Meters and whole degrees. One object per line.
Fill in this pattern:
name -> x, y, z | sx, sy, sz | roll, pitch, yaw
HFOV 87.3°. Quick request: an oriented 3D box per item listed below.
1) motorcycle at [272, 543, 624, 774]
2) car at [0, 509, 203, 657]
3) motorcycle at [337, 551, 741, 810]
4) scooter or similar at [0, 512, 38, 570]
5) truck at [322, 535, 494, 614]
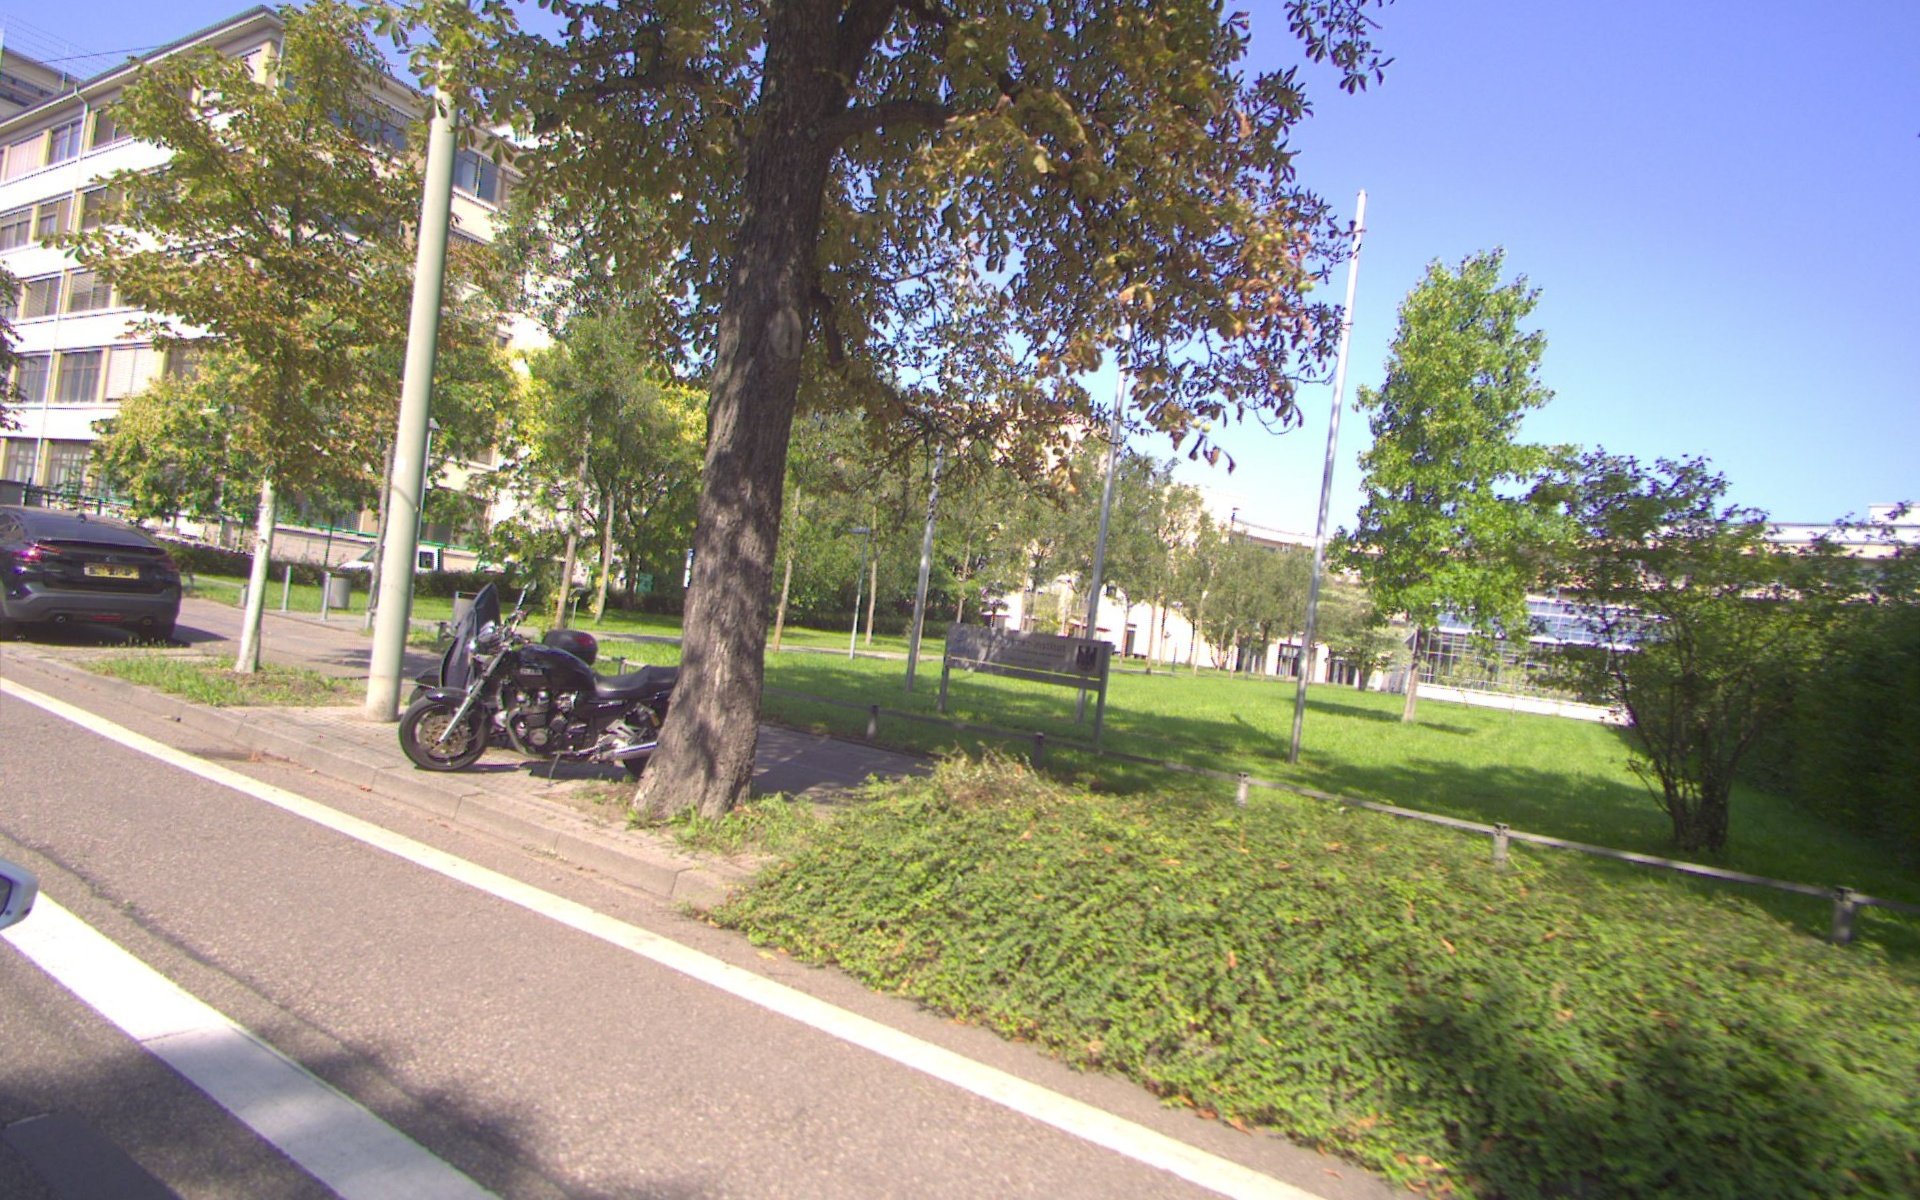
motorcycle -> -4.254, 0.477, 8.462 | 2.408, 1.533, 0.854 | 7, -1, 7
car -> -11.855, -0.336, 12.859 | 4.531, 1.534, 1.759 | 6, -1, 30
motorcycle -> -2.972, 0.606, 7.361 | 2.422, 1.533, 0.849 | 8, -1, -21
scooter or similar -> -23.029, -1.460, 24.342 | 1.789, 1.274, 0.557 | 6, -1, 34
truck -> -22.173, -0.970, 40.662 | 2.261, 2.352, 5.517 | 6, -2, 32
